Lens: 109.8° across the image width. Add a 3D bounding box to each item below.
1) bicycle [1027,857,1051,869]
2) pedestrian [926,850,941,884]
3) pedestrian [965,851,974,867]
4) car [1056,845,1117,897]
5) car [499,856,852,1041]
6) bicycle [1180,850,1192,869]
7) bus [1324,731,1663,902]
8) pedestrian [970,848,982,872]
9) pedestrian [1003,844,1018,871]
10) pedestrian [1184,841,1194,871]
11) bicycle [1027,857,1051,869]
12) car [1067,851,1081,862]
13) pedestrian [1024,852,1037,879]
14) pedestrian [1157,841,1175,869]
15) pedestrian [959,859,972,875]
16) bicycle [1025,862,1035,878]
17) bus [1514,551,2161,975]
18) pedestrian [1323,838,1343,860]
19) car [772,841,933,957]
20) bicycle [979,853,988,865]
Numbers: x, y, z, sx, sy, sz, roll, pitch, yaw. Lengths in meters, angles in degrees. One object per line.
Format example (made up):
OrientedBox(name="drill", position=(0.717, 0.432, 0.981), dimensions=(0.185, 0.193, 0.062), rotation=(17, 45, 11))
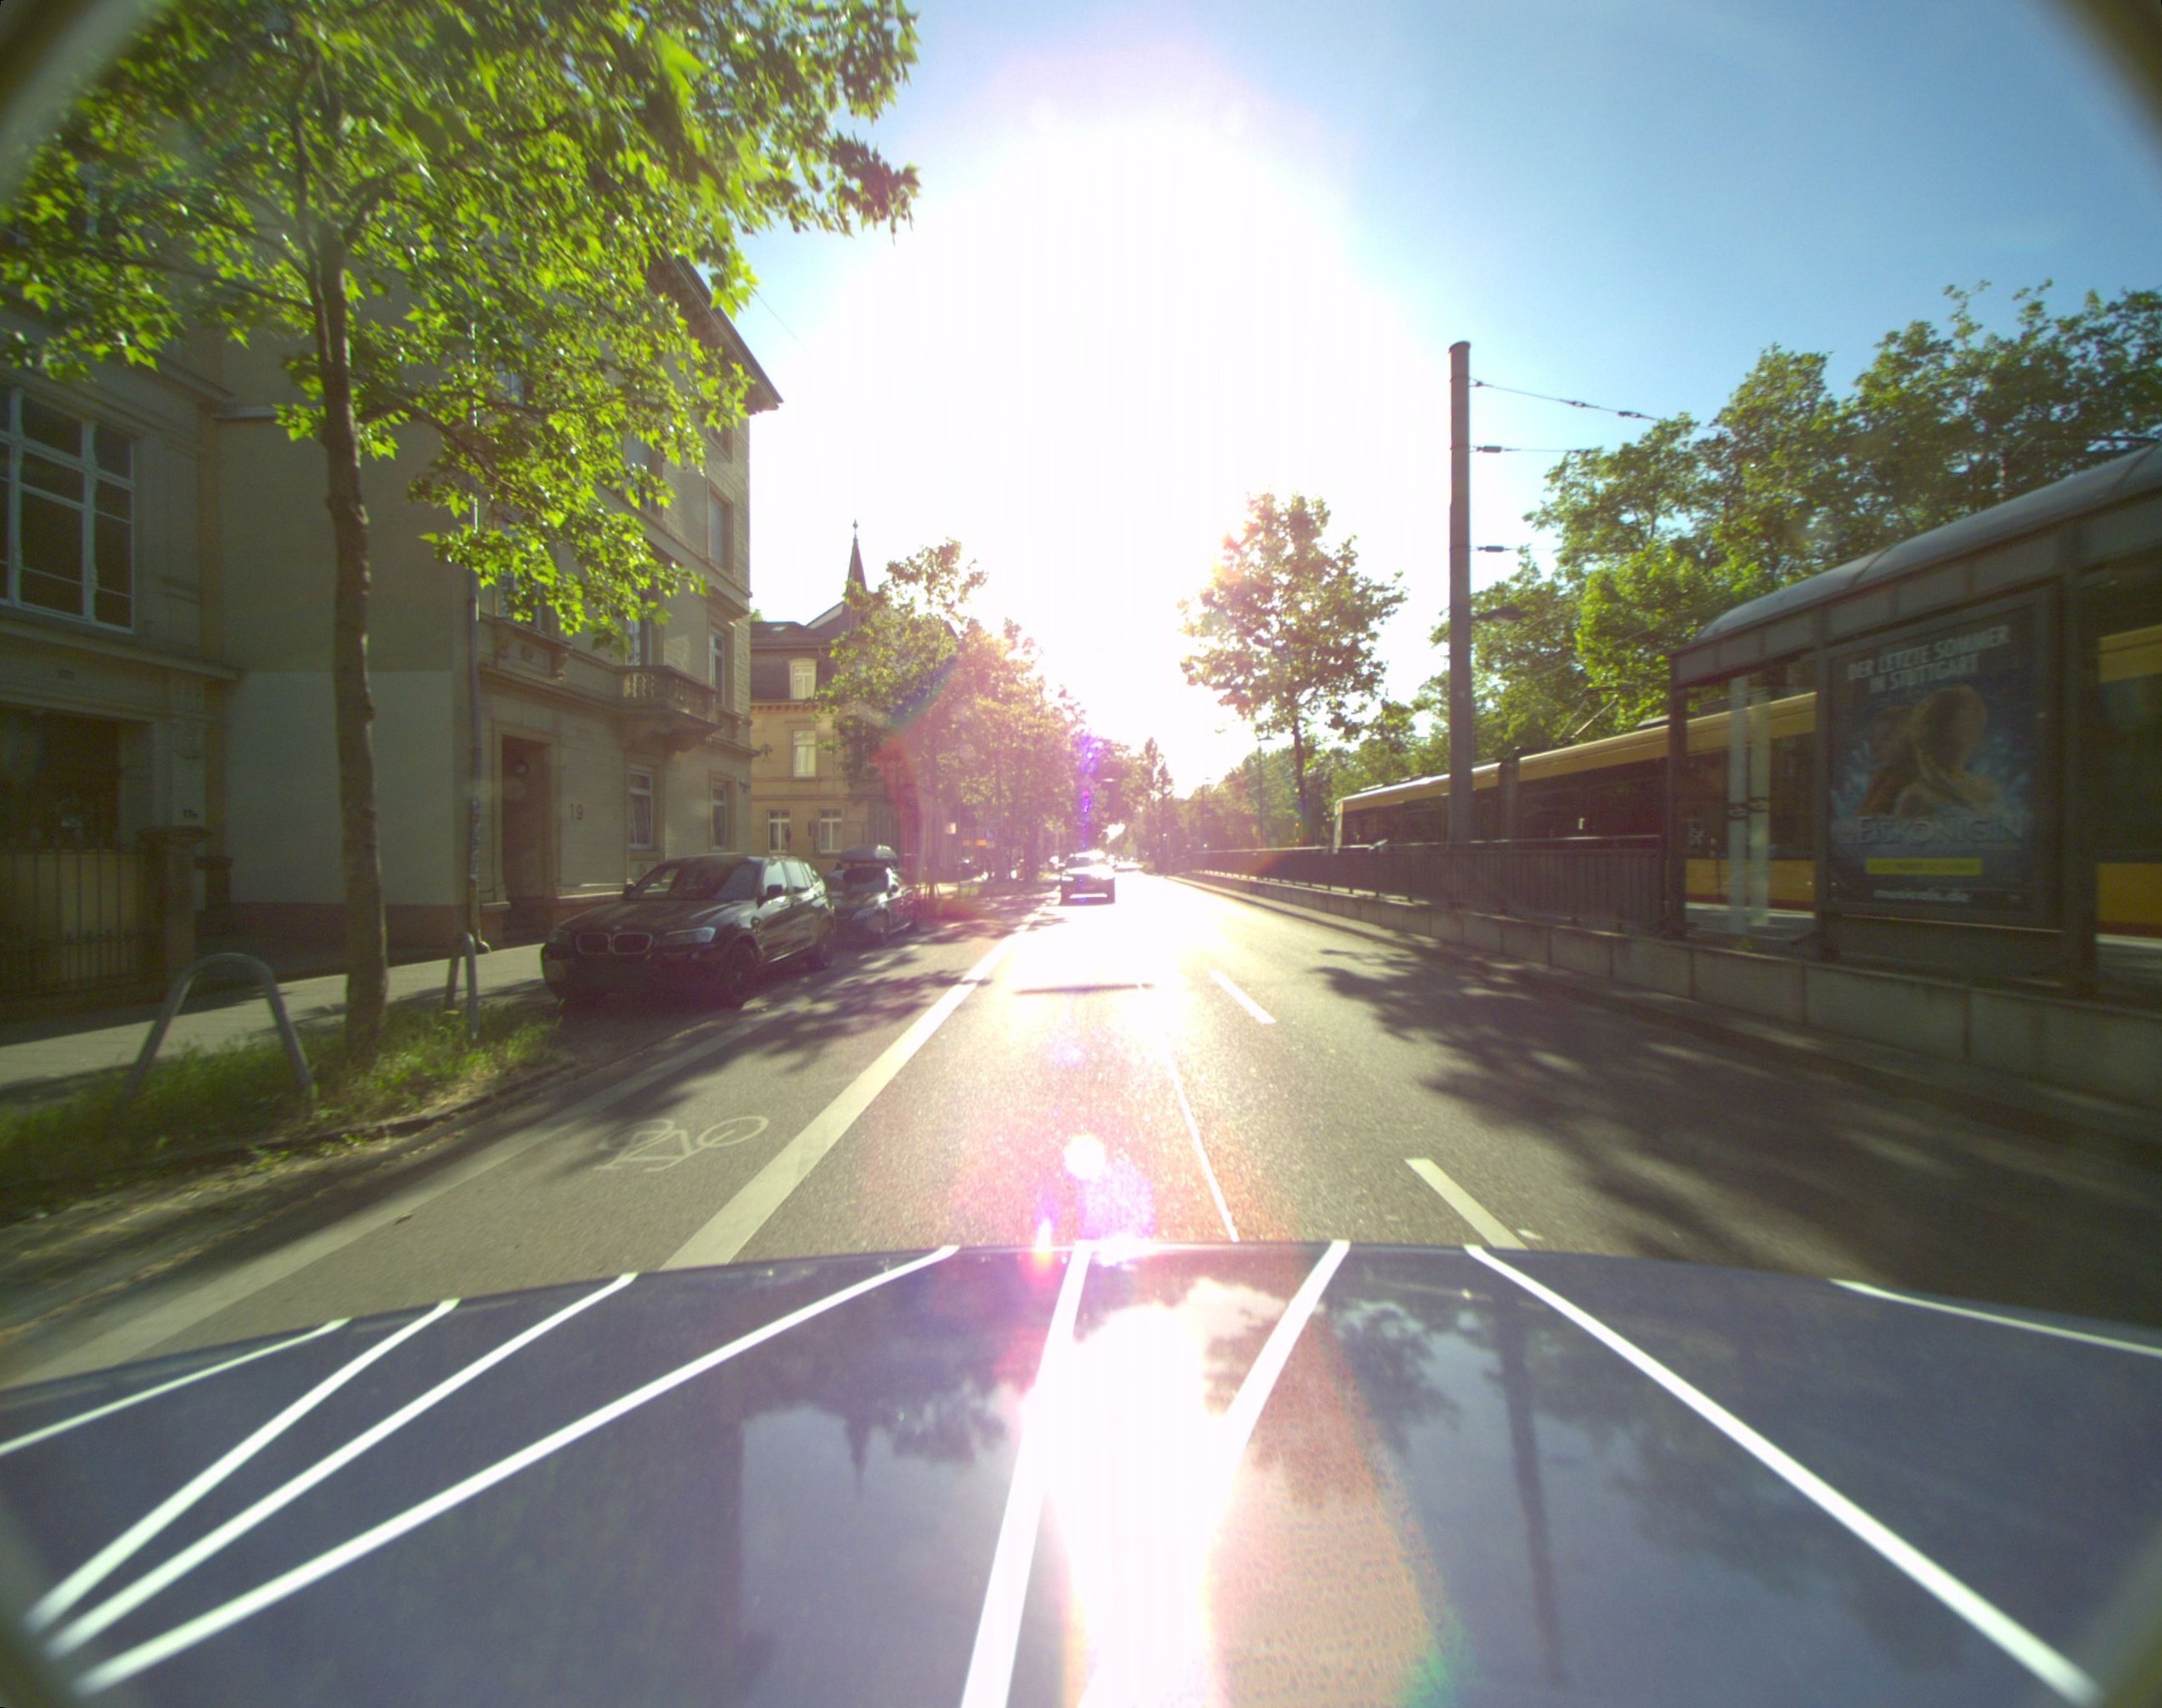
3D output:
OrientedBox(name="bicycle", position=(-3.645, 0.771, 65.545), dimensions=(2.019, 0.987, 0.444), rotation=(-2, 0, -1))
OrientedBox(name="pedestrian", position=(-7.886, 0.686, 40.724), dimensions=(0.565, 1.816, 0.959), rotation=(-3, 0, -2))
OrientedBox(name="pedestrian", position=(-8.608, 0.388, 58.572), dimensions=(0.648, 1.154, 0.610), rotation=(-3, 0, -10))
OrientedBox(name="car", position=(0.238, 0.583, 27.363), dimensions=(1.968, 1.664, 4.000), rotation=(-3, 0, 1))
OrientedBox(name="car", position=(-4.520, 0.899, 9.500), dimensions=(1.802, 1.690, 4.737), rotation=(-1, 0, 1))
OrientedBox(name="bicycle", position=(6.563, 0.333, 47.593), dimensions=(0.329, 1.207, 1.828), rotation=(-1, 0, -5))
OrientedBox(name="bus", position=(10.515, -0.756, 22.070), dimensions=(2.876, 3.424, 13.217), rotation=(-1, 0, 1))
OrientedBox(name="pedestrian", position=(-7.968, 0.454, 57.804), dimensions=(0.468, 1.800, 0.775), rotation=(-2, 0, 33))
OrientedBox(name="pedestrian", position=(-5.499, 0.271, 59.360), dimensions=(0.884, 2.002, 0.857), rotation=(-2, 0, 5))
OrientedBox(name="pedestrian", position=(6.843, 0.121, 48.114), dimensions=(0.452, 1.892, 0.584), rotation=(-1, 1, -6))
OrientedBox(name="bicycle", position=(-3.666, 0.773, 66.030), dimensions=(2.009, 0.987, 0.444), rotation=(-2, 0, -1))
OrientedBox(name="car", position=(-0.899, 0.377, 102.873), dimensions=(1.705, 1.415, 4.517), rotation=(-3, 0, 0))
OrientedBox(name="pedestrian", position=(-3.419, 0.772, 51.590), dimensions=(0.643, 1.761, 0.869), rotation=(-2, 0, 7))
OrientedBox(name="pedestrian", position=(5.890, 0.082, 52.447), dimensions=(1.075, 1.905, 1.126), rotation=(-1, 1, -1))
OrientedBox(name="pedestrian", position=(-8.692, 1.005, 57.036), dimensions=(0.653, 1.154, 0.672), rotation=(-3, 0, -35))
OrientedBox(name="bicycle", position=(-3.206, 0.985, 47.589), dimensions=(0.429, 0.964, 1.750), rotation=(-2, 0, 1))
OrientedBox(name="bus", position=(10.252, -0.756, 9.521), dimensions=(2.876, 3.424, 12.215), rotation=(-1, 0, 1))
OrientedBox(name="pedestrian", position=(18.411, -0.360, 55.532), dimensions=(1.180, 1.634, 0.892), rotation=(-1, 1, -6))
OrientedBox(name="car", position=(-4.400, 0.784, 15.463), dimensions=(1.759, 1.953, 4.737), rotation=(-1, 0, 1))
OrientedBox(name="bicycle", position=(-8.139, 0.436, 63.368), dimensions=(0.444, 0.987, 1.688), rotation=(-2, 0, 0))
